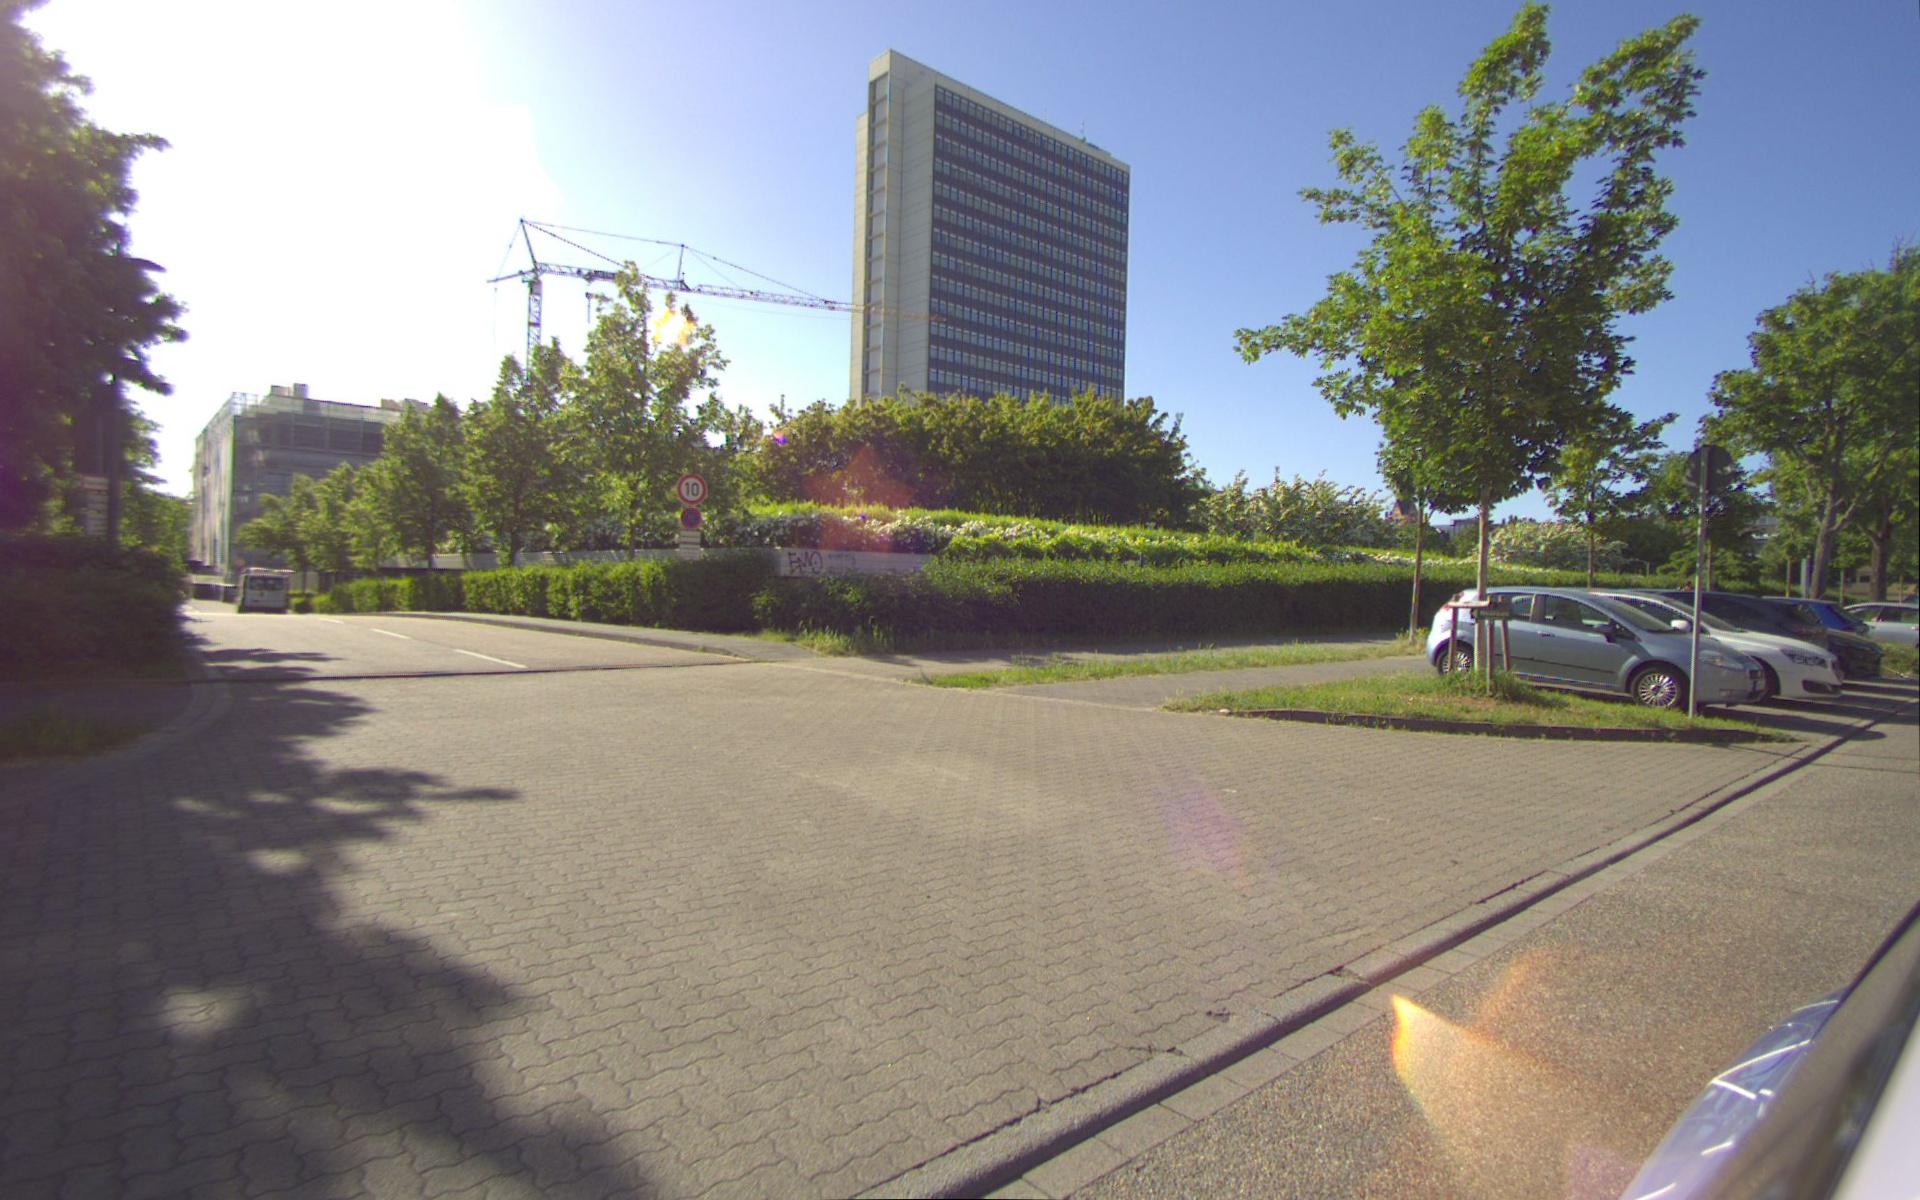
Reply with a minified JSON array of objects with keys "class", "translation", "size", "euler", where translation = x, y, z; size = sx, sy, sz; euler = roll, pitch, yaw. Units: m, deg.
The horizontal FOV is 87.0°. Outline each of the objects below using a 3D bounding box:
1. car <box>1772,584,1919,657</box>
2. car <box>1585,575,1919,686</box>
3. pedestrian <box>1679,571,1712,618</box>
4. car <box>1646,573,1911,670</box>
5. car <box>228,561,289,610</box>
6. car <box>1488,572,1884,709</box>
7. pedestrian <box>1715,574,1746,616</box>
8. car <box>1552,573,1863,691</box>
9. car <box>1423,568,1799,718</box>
[{"class":"car","translation":[22.822,0.532,24.857],"size":[1.611,1.446,4.108],"euler":[1,6,-33]},{"class":"car","translation":[14.563,0.446,18.783],"size":[2.120,1.533,4.562],"euler":[0,5,-40]},{"class":"pedestrian","translation":[25.126,-0.195,34.580],"size":[0.919,1.561,0.608],"euler":[1,2,-36]},{"class":"car","translation":[16.530,0.355,20.610],"size":[1.713,1.465,3.819],"euler":[0,6,-38]},{"class":"car","translation":[-33.307,-0.710,48.019],"size":[1.892,2.135,3.994],"euler":[1,2,-42]},{"class":"car","translation":[10.949,0.478,15.582],"size":[1.947,1.533,4.561],"euler":[0,5,-40]},{"class":"pedestrian","translation":[29.979,-0.202,39.383],"size":[0.837,1.607,0.725],"euler":[1,2,-39]},{"class":"car","translation":[12.565,0.436,17.207],"size":[1.720,1.533,3.886],"euler":[0,5,-40]},{"class":"car","translation":[8.750,0.454,13.903],"size":[1.671,1.533,3.959],"euler":[0,5,-39]}]
